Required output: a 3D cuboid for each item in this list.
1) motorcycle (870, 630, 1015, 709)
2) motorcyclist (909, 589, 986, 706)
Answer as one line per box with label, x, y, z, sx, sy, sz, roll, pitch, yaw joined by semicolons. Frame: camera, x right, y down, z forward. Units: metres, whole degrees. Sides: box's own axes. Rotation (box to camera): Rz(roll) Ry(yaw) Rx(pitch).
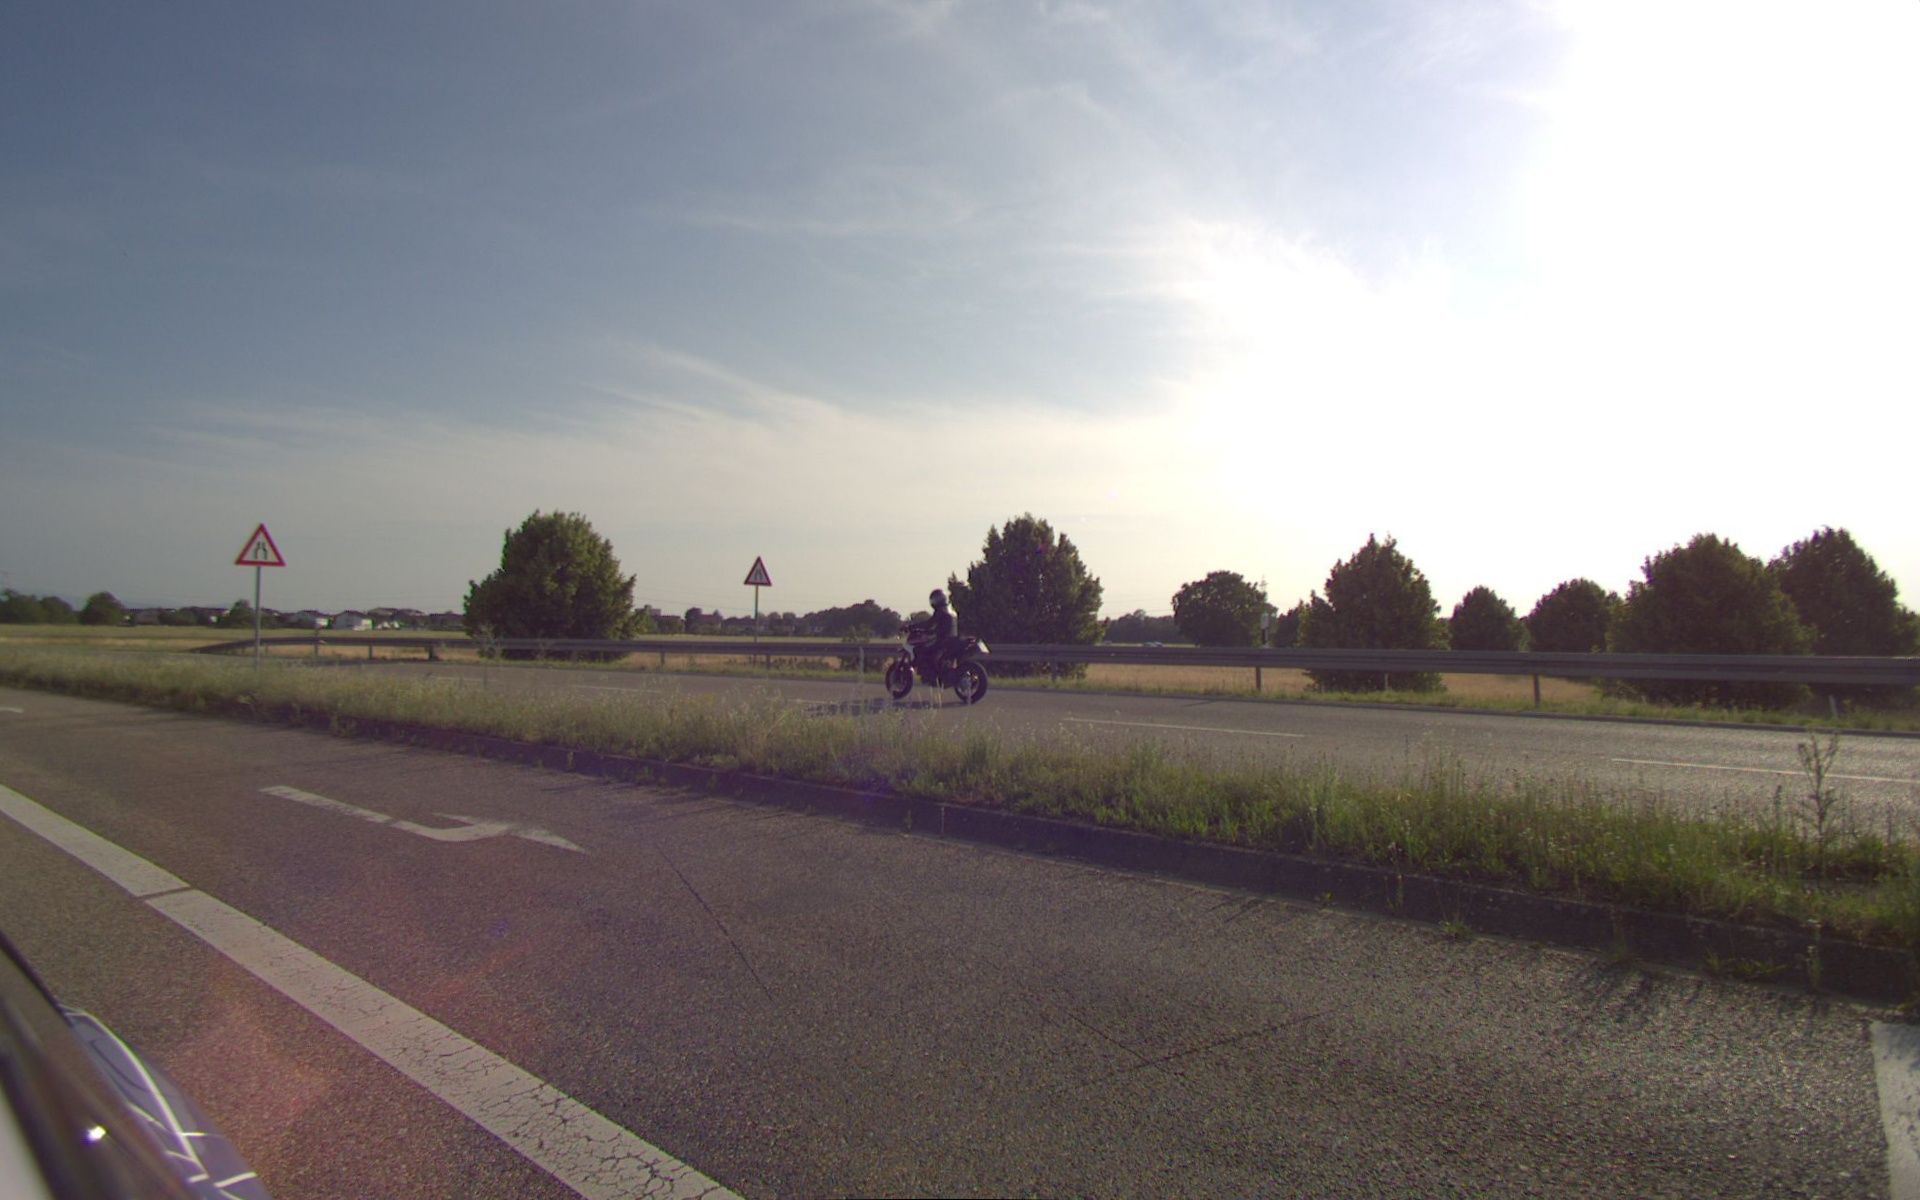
motorcycle;-0.294;1.060;15.962;2.166;1.133;0.929;-1;-1;35
motorcyclist;-0.192;0.725;15.886;0.830;1.771;0.896;-1;-1;35
